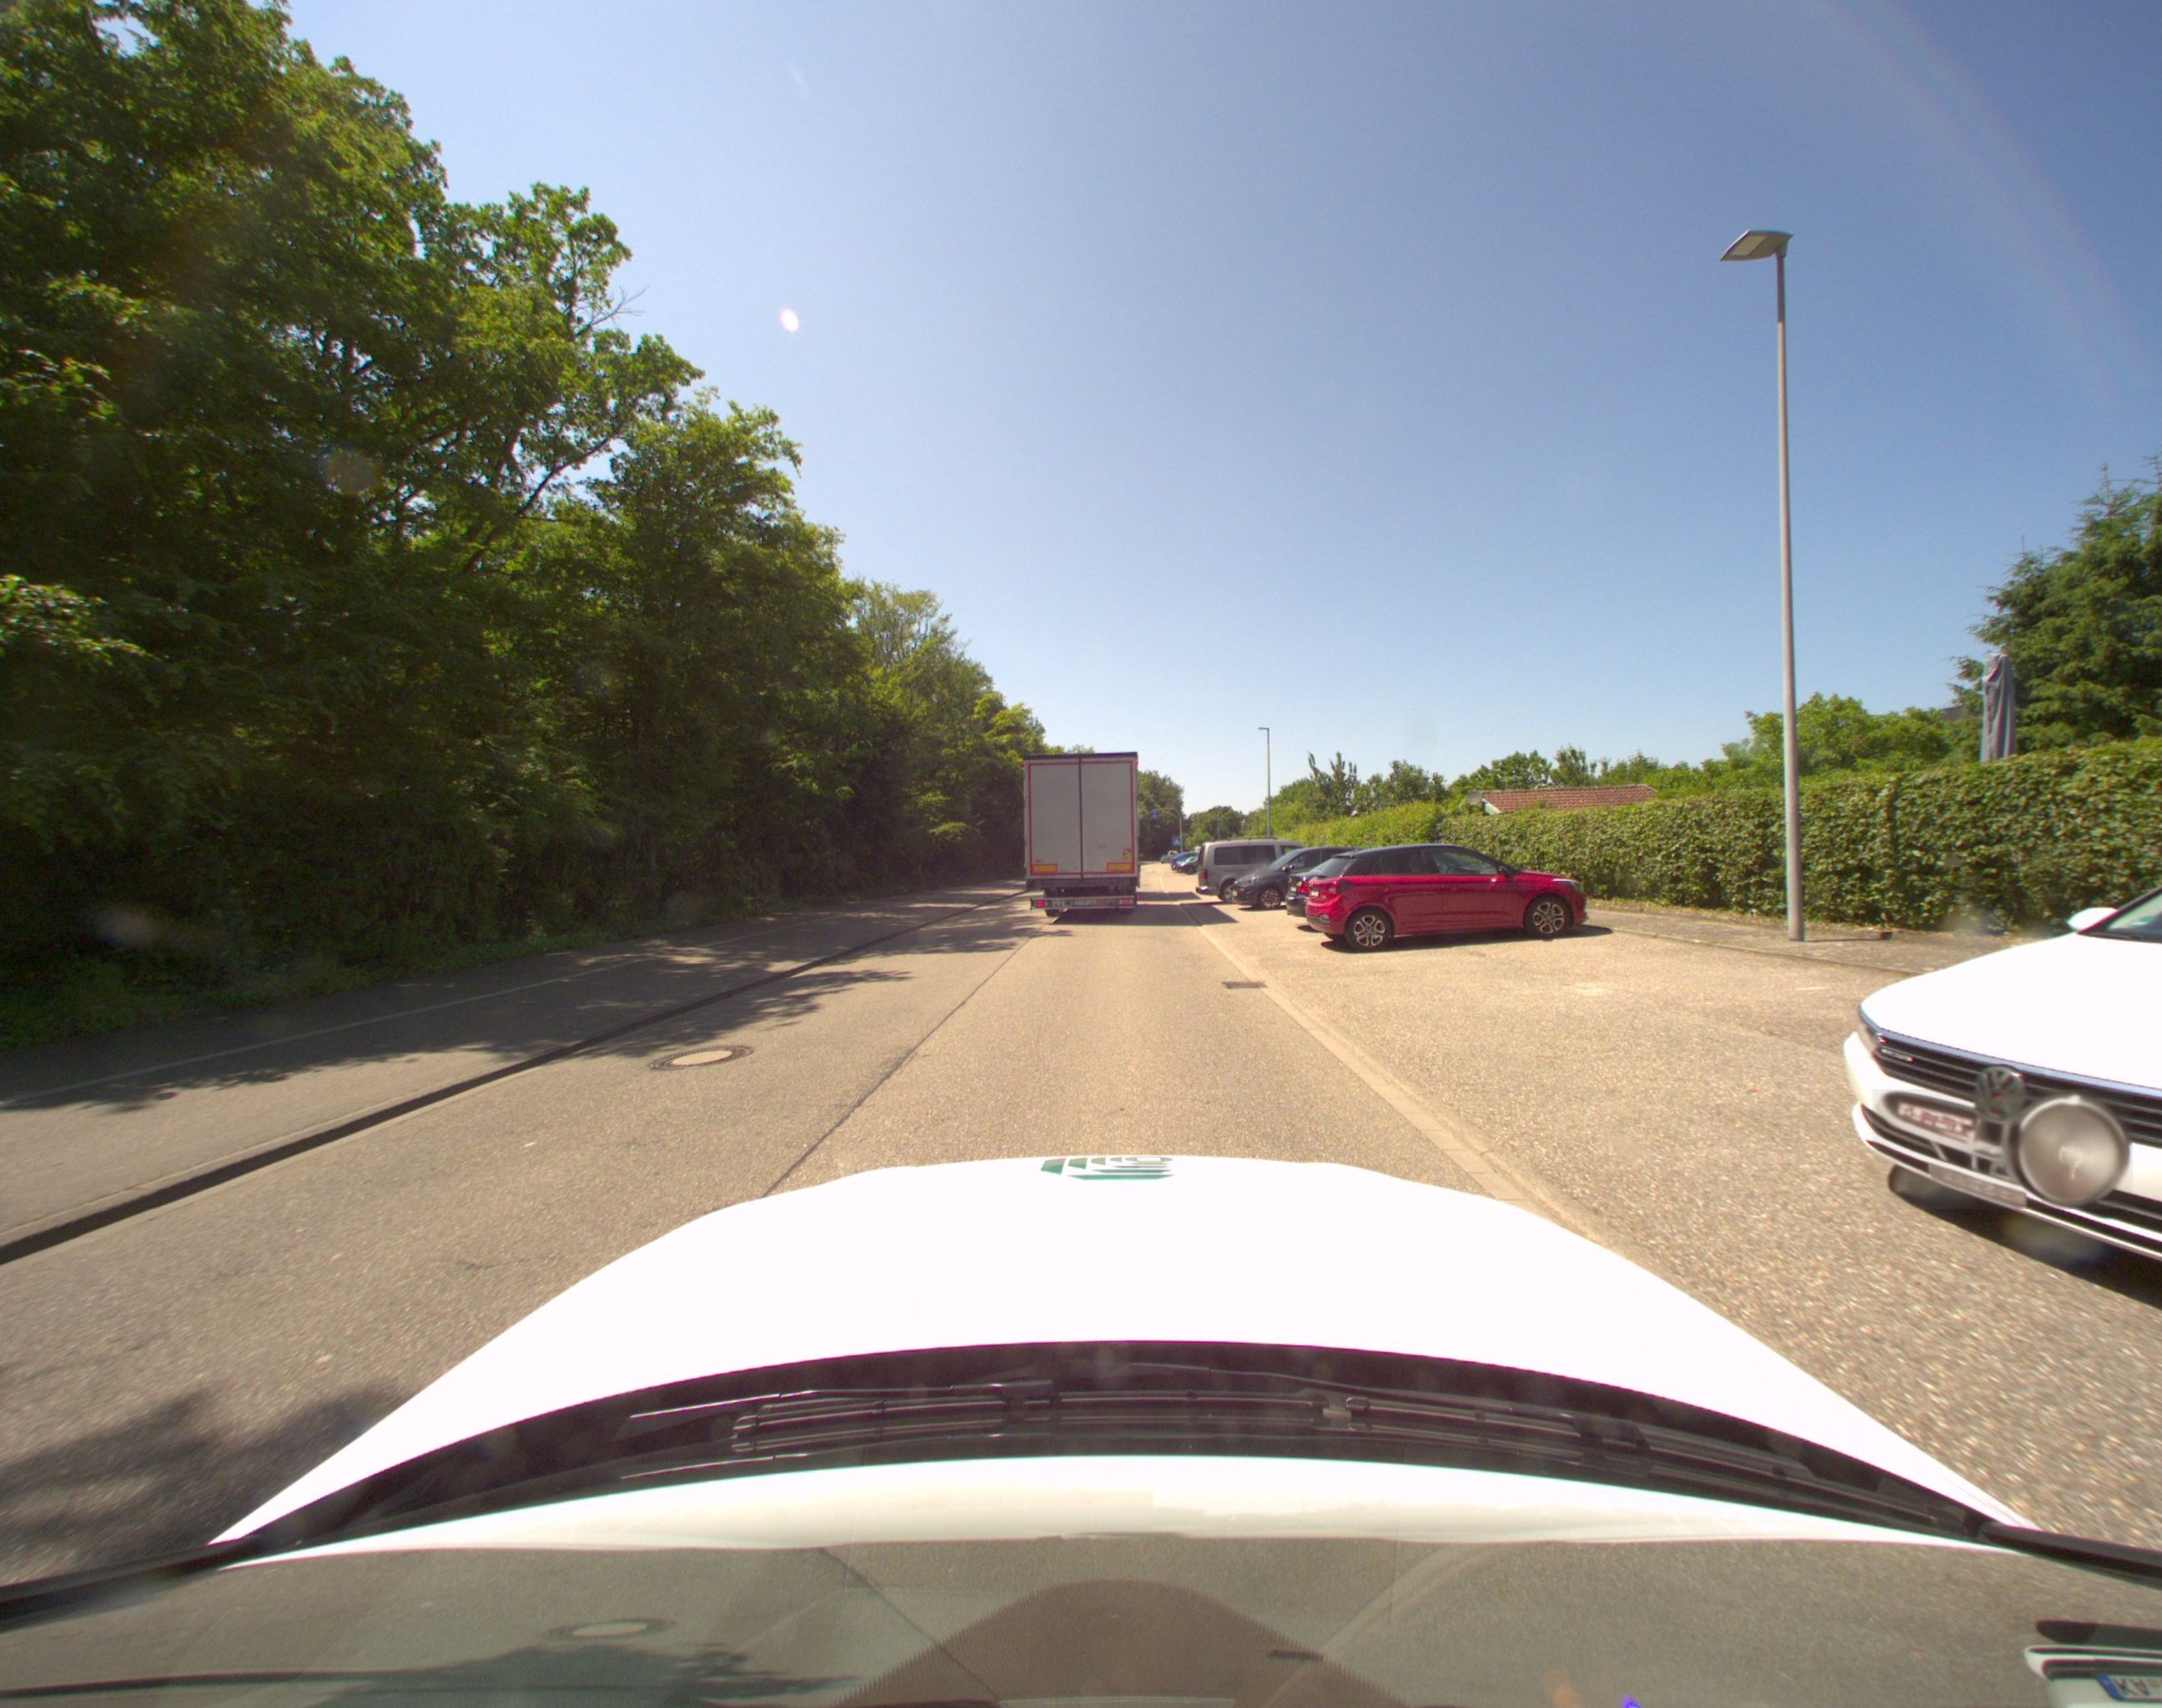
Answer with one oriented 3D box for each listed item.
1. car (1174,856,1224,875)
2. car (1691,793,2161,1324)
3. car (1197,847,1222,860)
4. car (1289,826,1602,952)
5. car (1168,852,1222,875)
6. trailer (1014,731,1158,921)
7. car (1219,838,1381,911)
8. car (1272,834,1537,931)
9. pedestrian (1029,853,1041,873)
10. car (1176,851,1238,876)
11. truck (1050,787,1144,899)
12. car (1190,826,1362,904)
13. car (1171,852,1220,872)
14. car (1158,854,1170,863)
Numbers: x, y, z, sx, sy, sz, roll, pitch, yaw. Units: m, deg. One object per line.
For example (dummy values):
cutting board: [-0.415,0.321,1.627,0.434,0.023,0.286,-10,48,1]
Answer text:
car: [9.187,0.878,63.610,3.715,1.268,1.631,-4,-1,6]
car: [5.237,0.425,2.980,4.547,1.439,1.960,-5,0,-2]
car: [21.632,-0.126,136.794,3.933,1.798,1.818,-4,-3,9]
car: [5.399,0.503,12.490,3.903,1.478,1.846,-5,0,2]
car: [9.294,0.784,66.567,4.218,1.634,1.825,-3,-1,4]
trailer: [0.386,-0.598,23.528,3.100,4.102,11.544,-1,0,3]
car: [5.576,0.500,21.018,3.567,1.502,1.840,-5,0,-3]
car: [5.933,0.511,15.330,4.188,1.388,1.841,-5,0,1]
pedestrian: [-3.728,0.750,66.004,0.824,1.622,0.784,1,0,4]
car: [8.891,0.652,57.627,4.144,1.495,1.885,-4,-1,4]
truck: [0.711,-0.365,30.287,3.101,3.725,6.419,0,0,3]
car: [5.675,0.306,24.190,4.601,1.848,1.998,-5,0,3]
car: [10.157,0.718,72.584,4.217,1.654,1.901,-2,-2,4]
car: [13.638,0.726,134.025,1.773,1.486,4.005,-1,0,4]
